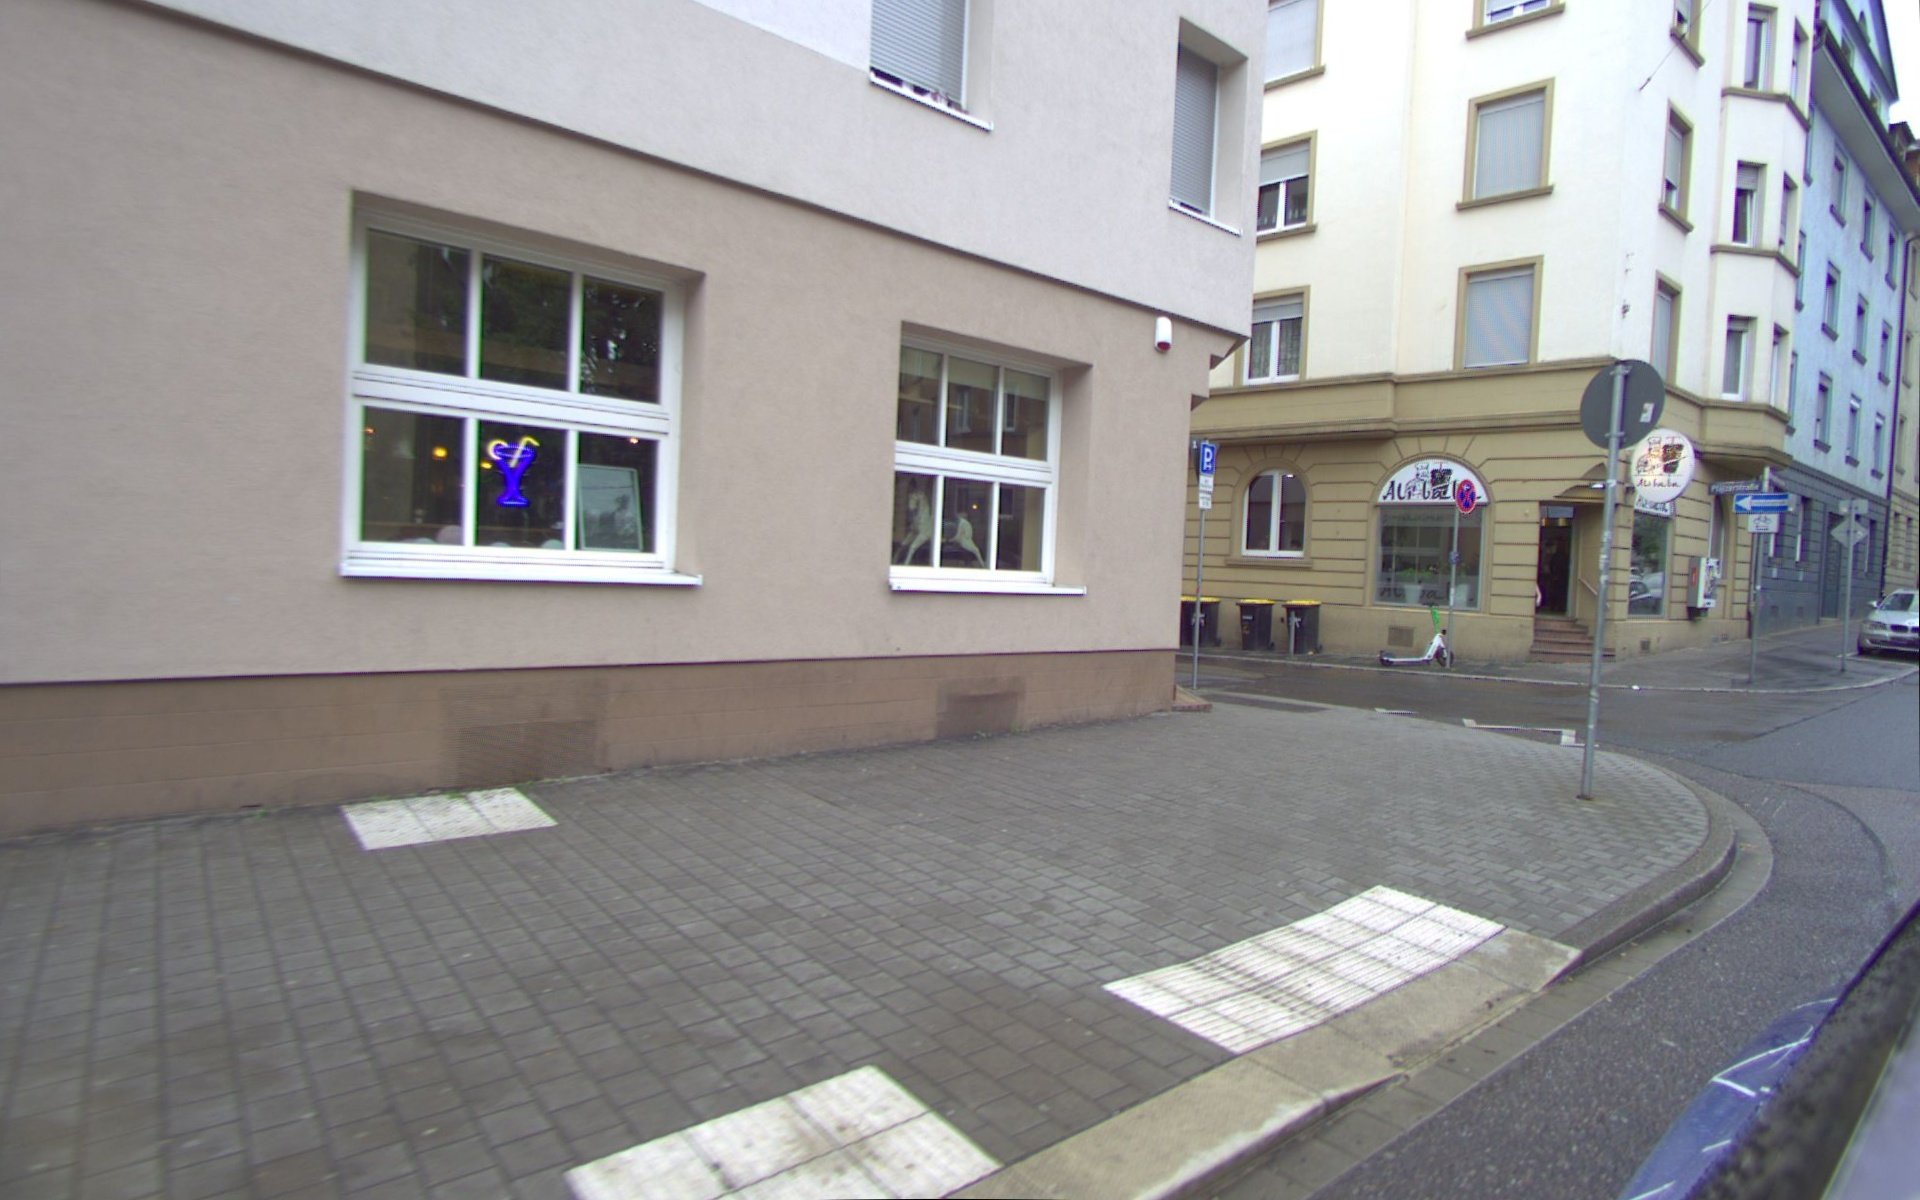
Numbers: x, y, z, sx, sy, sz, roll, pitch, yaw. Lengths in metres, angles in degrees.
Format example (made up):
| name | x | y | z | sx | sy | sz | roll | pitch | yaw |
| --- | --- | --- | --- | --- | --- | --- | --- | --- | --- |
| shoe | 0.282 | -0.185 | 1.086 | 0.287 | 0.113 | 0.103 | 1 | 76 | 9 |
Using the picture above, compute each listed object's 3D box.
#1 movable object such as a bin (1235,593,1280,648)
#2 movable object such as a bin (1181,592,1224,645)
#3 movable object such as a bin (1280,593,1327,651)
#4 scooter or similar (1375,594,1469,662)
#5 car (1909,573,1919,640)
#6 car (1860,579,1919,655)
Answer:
| name | x | y | z | sx | sy | sz | roll | pitch | yaw |
| --- | --- | --- | --- | --- | --- | --- | --- | --- | --- |
| movable object such as a bin | 6.287 | 0.428 | 21.377 | 0.674 | 1.088 | 0.693 | 3 | 4 | 43 |
| movable object such as a bin | 5.319 | 0.400 | 22.178 | 0.674 | 1.088 | 0.693 | 3 | 4 | 43 |
| movable object such as a bin | 7.034 | 0.438 | 20.715 | 0.674 | 1.088 | 0.693 | 3 | 4 | 43 |
| scooter or similar | 8.374 | 0.507 | 18.375 | 1.457 | 1.163 | 0.486 | 0 | 6 | 13 |
| car | 25.139 | 0.158 | 25.200 | 3.827 | 1.611 | 1.816 | -1 | 2 | -41 |
| car | 20.837 | 0.322 | 21.651 | 4.132 | 1.482 | 1.855 | -1 | 3 | -41 |
